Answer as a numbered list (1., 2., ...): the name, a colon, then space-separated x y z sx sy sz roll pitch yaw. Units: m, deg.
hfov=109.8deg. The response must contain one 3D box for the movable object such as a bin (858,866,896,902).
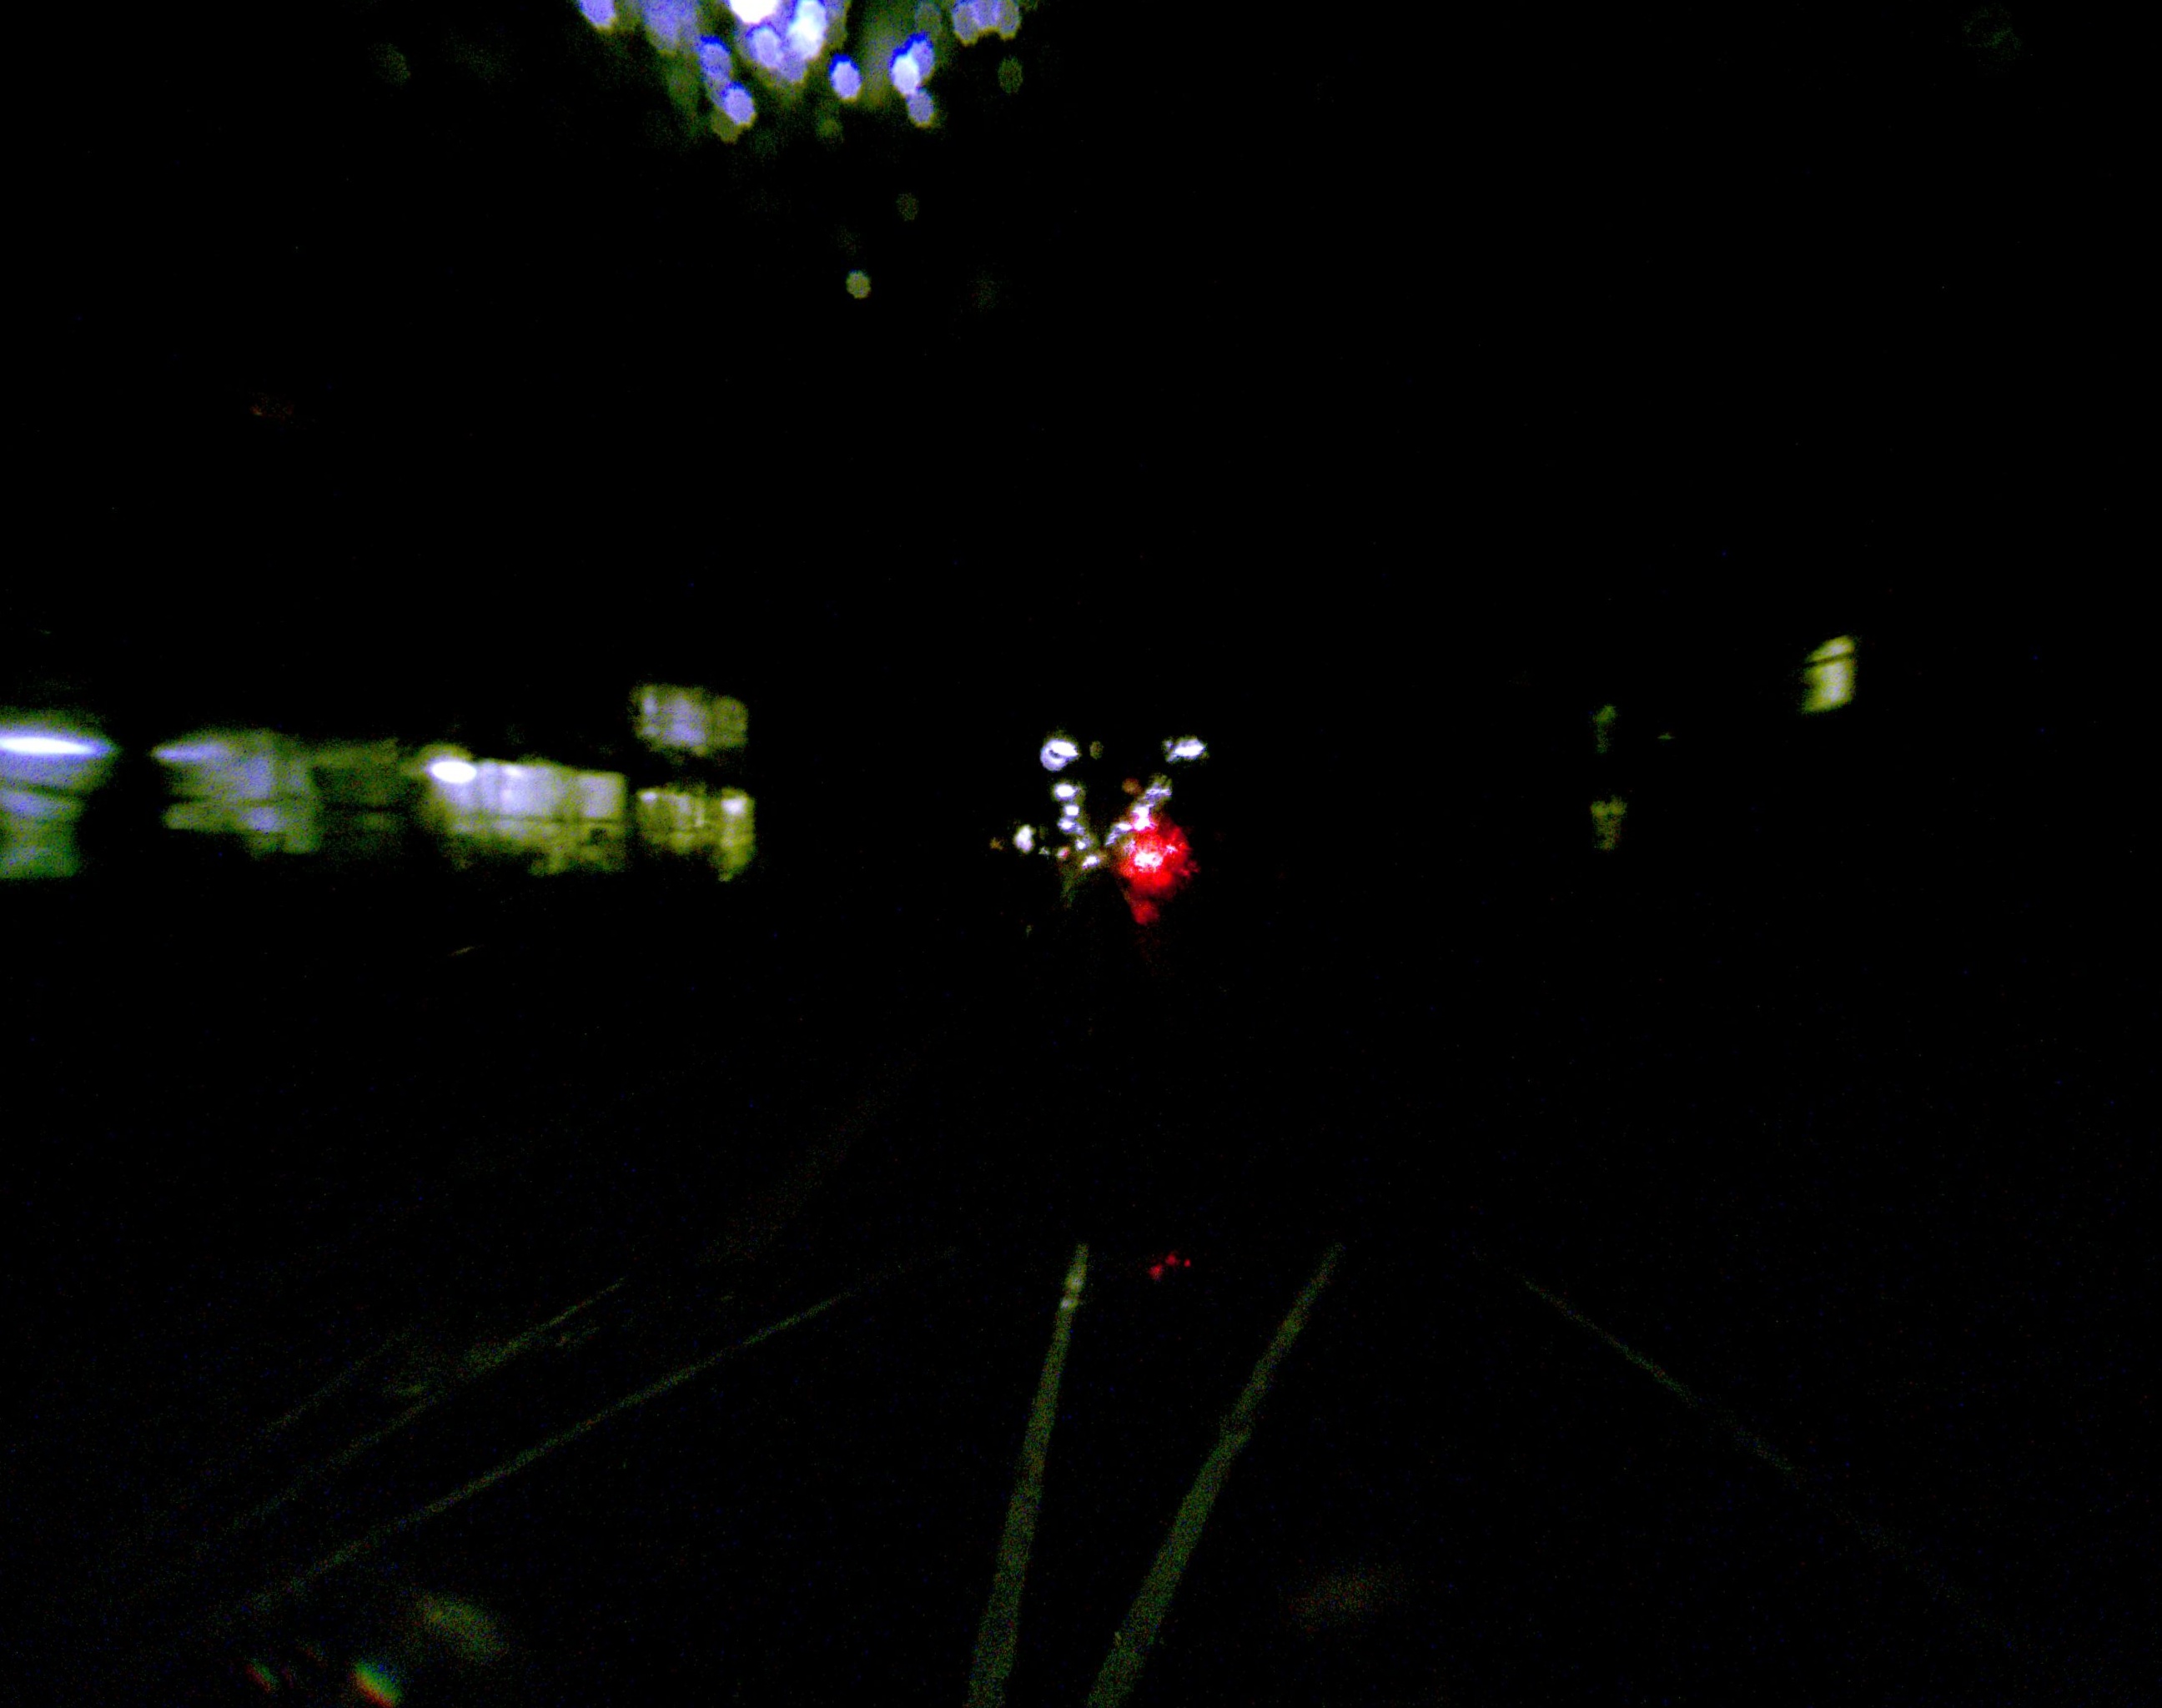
1. movable object such as a bin: -8.311 1.215 31.027 1.025 1.399 1.418 -1 0 7

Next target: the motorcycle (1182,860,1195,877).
1. motorcycle: 8.365 1.090 59.088 0.818 1.223 2.002 4 2 13

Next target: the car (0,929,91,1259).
1. car: -6.828 1.213 2.628 3.863 1.425 1.816 -3 0 -44

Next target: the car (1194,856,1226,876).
1. car: 10.501 0.957 62.060 1.770 1.398 4.141 -4 0 -1

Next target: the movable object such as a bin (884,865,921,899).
1. movable object such as a bin: -7.632 1.191 32.401 1.413 1.399 1.025 -1 0 -19

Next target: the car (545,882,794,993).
1. car: -6.683 1.252 12.470 3.343 1.377 1.627 -3 0 -34

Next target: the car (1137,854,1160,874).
1. car: 6.345 0.956 71.693 1.943 1.805 4.385 0 0 2

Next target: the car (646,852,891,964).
1. car: -6.365 1.001 15.692 4.181 1.828 1.958 -3 0 -40

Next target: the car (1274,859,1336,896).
1. car: 10.038 0.995 34.296 1.672 1.378 4.001 -4 1 2

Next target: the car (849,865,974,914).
1. car: -5.830 1.179 26.424 1.802 1.480 3.863 -1 0 43

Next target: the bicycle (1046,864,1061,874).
1. bicycle: -2.900 1.566 79.287 0.571 0.964 1.783 -3 1 33

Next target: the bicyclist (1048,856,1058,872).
1. bicyclist: -2.926 1.031 79.277 0.571 1.539 0.817 -3 1 33

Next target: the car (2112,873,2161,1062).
1. car: 9.465 0.832 4.516 1.645 1.498 3.619 -3 -2 -1

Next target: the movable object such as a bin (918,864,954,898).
1. movable object such as a bin: -6.299 1.163 32.937 1.353 1.399 1.025 -1 0 -19

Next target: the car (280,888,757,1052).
1. car: -6.598 1.194 9.364 1.687 1.396 4.467 -2 -2 43

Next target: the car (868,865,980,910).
1. car: -6.018 1.253 29.343 3.797 1.449 1.765 -3 0 -41

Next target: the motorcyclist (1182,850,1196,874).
1. motorcyclist: 8.397 0.606 59.074 0.919 1.730 1.137 4 2 12

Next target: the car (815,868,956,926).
1. car: -5.917 1.257 23.279 3.842 1.430 1.596 -3 1 -43

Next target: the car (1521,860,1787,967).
1. car: 9.515 0.892 13.049 1.614 1.420 3.808 -3 1 -1

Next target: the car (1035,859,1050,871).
1. car: -4.994 1.387 98.489 1.649 1.433 4.055 3 0 0

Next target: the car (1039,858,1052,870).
1. car: -4.901 1.406 103.753 1.652 1.516 3.579 3 0 -4

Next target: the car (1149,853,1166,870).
1. car: 8.780 0.897 87.013 1.930 1.868 4.640 0 0 6

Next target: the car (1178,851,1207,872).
1. car: 10.754 0.746 73.597 1.998 1.815 5.309 -4 -1 0
